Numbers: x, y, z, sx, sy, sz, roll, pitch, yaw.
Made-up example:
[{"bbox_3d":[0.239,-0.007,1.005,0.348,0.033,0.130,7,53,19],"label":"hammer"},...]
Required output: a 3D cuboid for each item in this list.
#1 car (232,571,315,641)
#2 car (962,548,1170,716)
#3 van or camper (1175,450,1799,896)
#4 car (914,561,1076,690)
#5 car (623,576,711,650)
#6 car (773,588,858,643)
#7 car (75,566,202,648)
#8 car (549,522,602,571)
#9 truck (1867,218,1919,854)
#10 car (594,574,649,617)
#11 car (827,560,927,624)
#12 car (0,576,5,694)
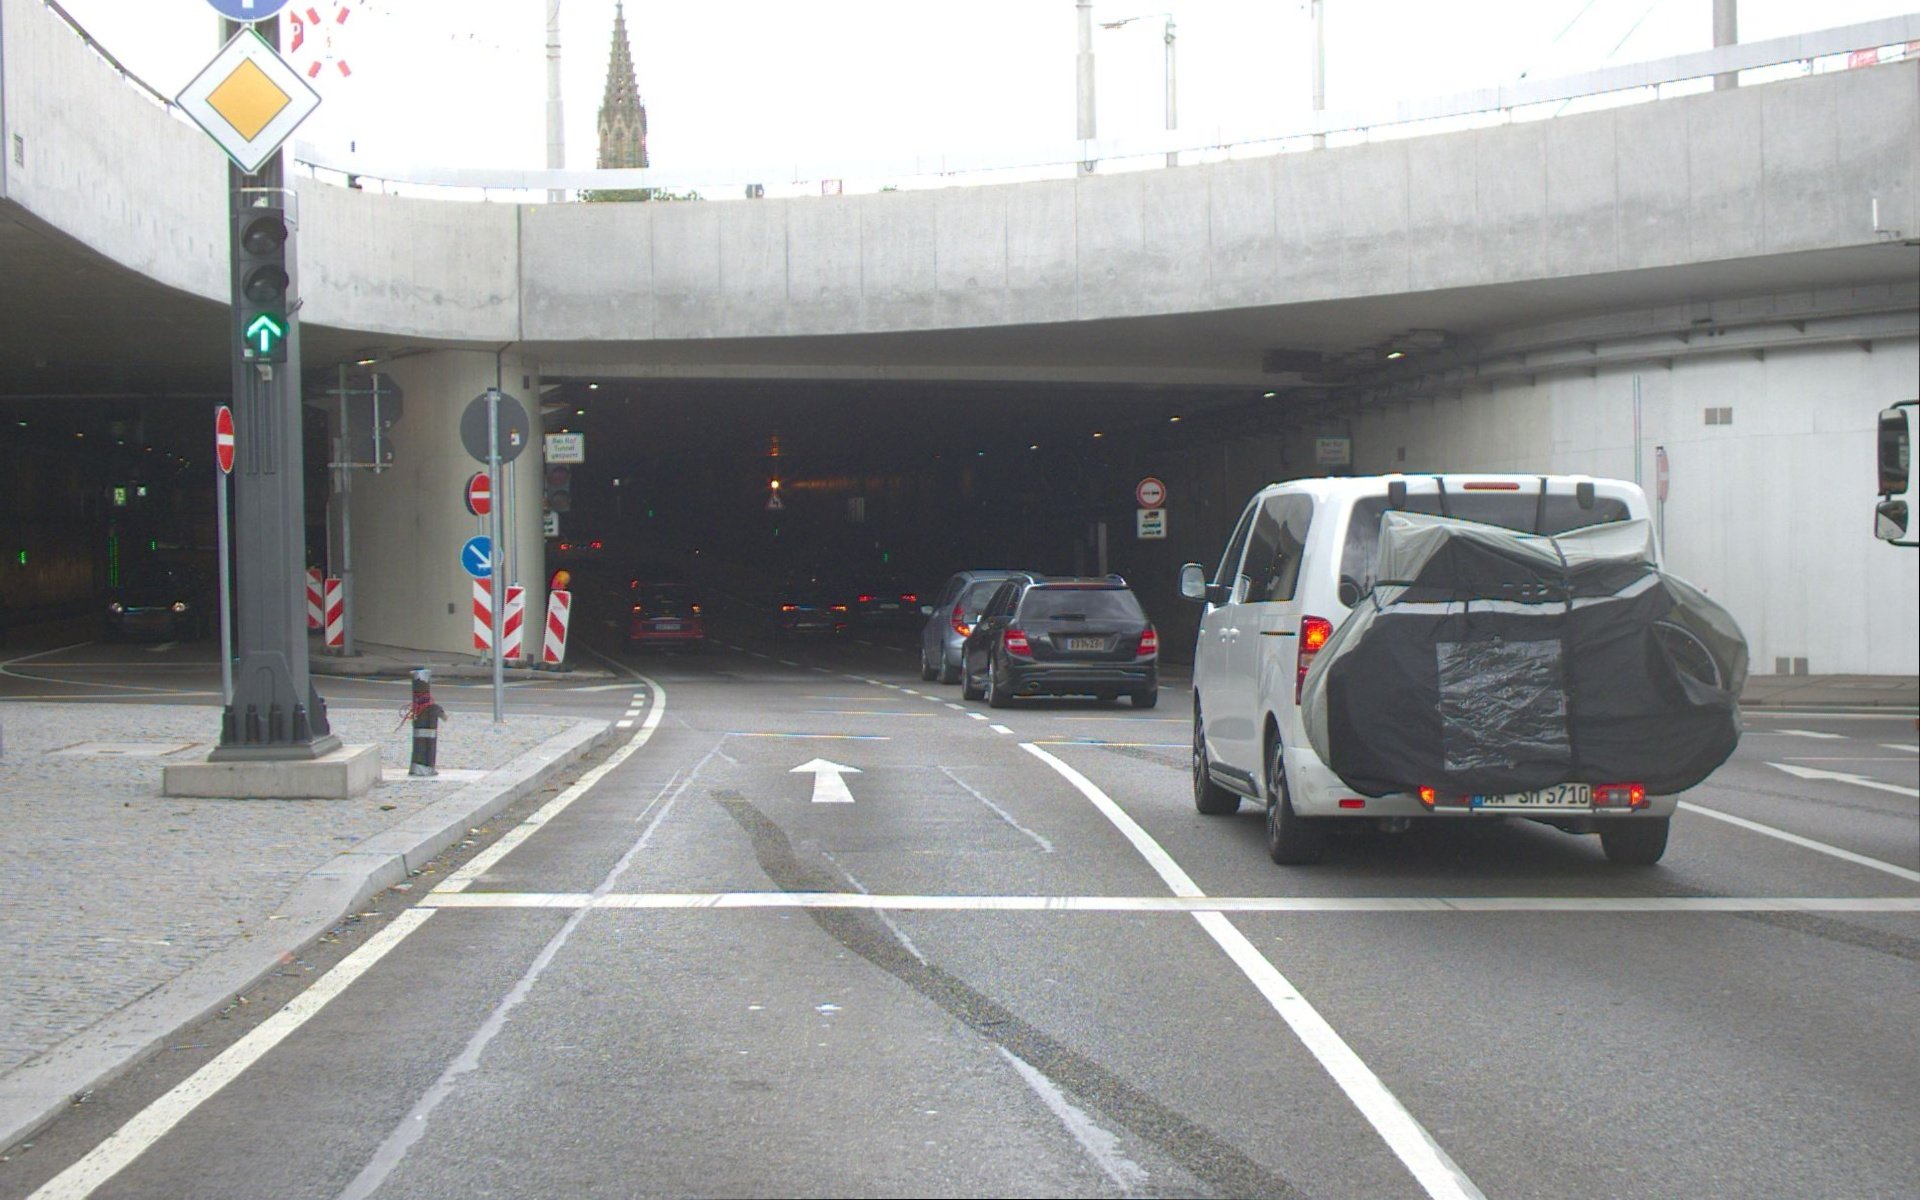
[{"bbox_3d":[-17.378,0.137,87.167,1.807,1.599,4.789,-1,2,-8],"label":"car"},{"bbox_3d":[1.085,0.306,37.112,1.818,1.678,4.001,1,1,-4],"label":"car"},{"bbox_3d":[2.391,0.328,17.199,1.993,1.839,5.508,1,0,-3],"label":"van or camper"},{"bbox_3d":[0.436,0.319,47.833,1.818,1.575,4.001,3,1,-5],"label":"car"},{"bbox_3d":[-6.108,0.259,71.393,1.659,1.483,3.568,0,0,-8],"label":"car"},{"bbox_3d":[-3.389,0.355,80.189,1.663,1.243,3.568,0,0,-8],"label":"car"},{"bbox_3d":[-15.287,0.102,63.840,1.664,1.436,4.114,-1,1,-22],"label":"car"},{"bbox_3d":[-15.975,-2.245,142.785,1.993,2.007,4.001,0,1,-9],"label":"car"},{"bbox_3d":[6.184,-0.281,14.360,2.649,3.174,7.427,0,1,-1],"label":"truck"},{"bbox_3d":[-10.198,-0.130,103.523,1.508,1.243,3.568,0,0,-8],"label":"car"},{"bbox_3d":[-2.269,-0.198,92.361,1.989,1.670,4.509,0,0,-10],"label":"car"},{"bbox_3d":[-13.620,0.430,43.504,1.850,1.438,4.844,-1,1,-29],"label":"car"}]
